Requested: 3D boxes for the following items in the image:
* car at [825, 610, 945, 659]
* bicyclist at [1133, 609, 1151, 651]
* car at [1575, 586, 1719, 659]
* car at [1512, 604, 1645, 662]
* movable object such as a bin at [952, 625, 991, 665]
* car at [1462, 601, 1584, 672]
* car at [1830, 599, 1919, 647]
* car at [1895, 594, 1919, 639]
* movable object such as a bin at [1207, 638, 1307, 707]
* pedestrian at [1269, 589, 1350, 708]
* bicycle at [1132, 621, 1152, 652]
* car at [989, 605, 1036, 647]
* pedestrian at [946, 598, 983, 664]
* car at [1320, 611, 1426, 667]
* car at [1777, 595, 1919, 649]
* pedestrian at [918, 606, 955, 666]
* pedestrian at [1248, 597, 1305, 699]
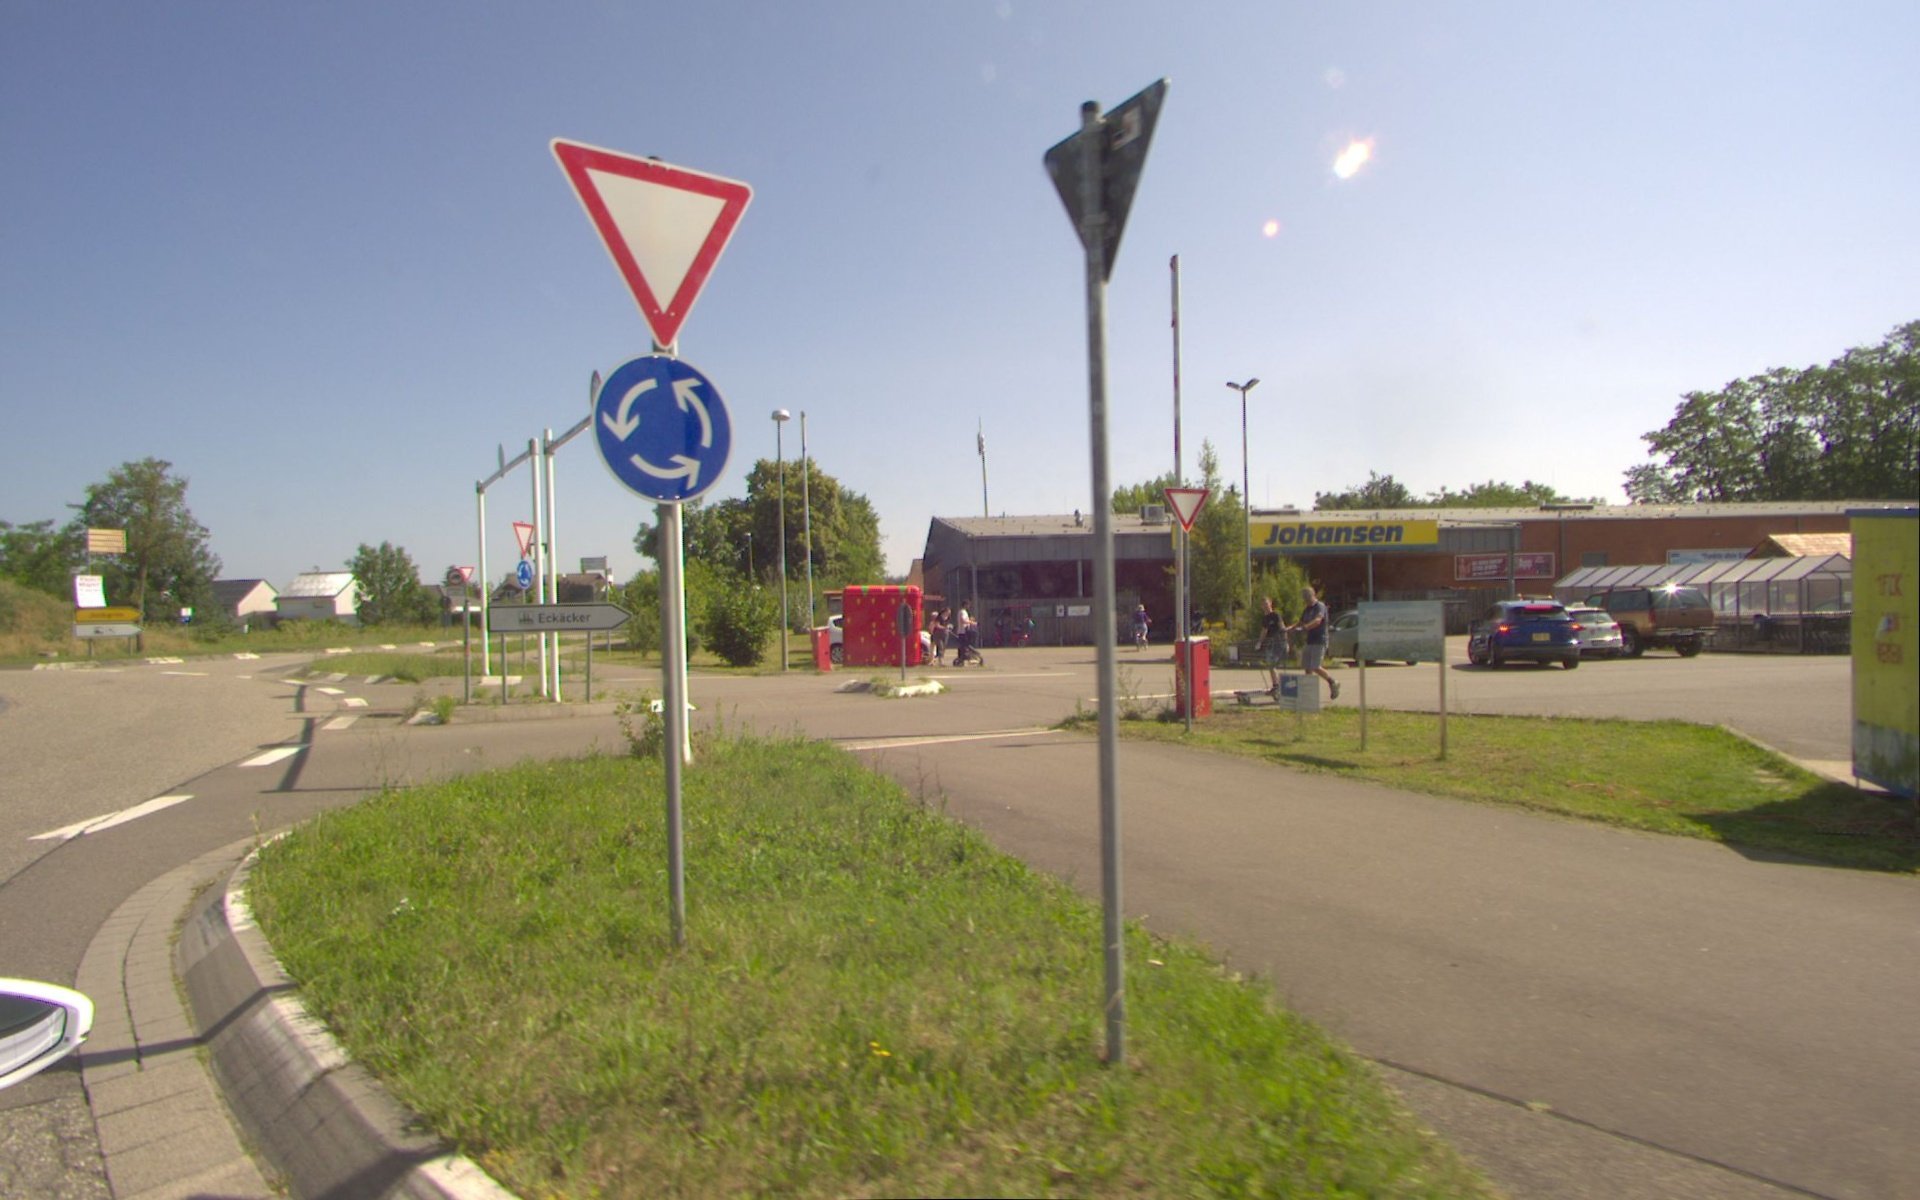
[{"bbox_3d":[-2.344,1.074,31.784,3.698,1.465,1.726,0,0,-1],"label":"car"},{"bbox_3d":[6.717,1.104,36.952,0.596,1.535,0.677,-1,1,15],"label":"bicyclist"},{"bbox_3d":[19.434,0.621,28.507,1.842,1.954,3.492,0,0,3],"label":"car"},{"bbox_3d":[17.182,0.881,28.006,1.683,1.517,3.492,0,0,3],"label":"car"},{"bbox_3d":[0.322,1.243,27.664,1.020,1.060,0.768,0,0,5],"label":"movable object such as a bin"},{"bbox_3d":[13.757,0.836,24.724,1.685,1.592,4.422,0,0,16],"label":"car"},{"bbox_3d":[28.791,0.673,29.890,1.961,1.394,3.999,-1,-1,-6],"label":"car"},{"bbox_3d":[31.132,0.509,30.363,1.682,1.416,3.999,-1,0,-4],"label":"car"},{"bbox_3d":[4.543,1.095,15.340,1.184,0.967,0.878,-1,0,-22],"label":"movable object such as a bin"},{"bbox_3d":[5.473,0.738,15.720,0.828,1.809,0.878,-1,0,-21],"label":"pedestrian"},{"bbox_3d":[6.773,1.344,37.185,0.543,1.055,2.073,-1,0,15],"label":"bicycle"},{"bbox_3d":[2.131,1.060,40.681,1.793,1.657,1.130,-1,0,-3],"label":"car"},{"bbox_3d":[0.138,0.892,29.094,0.827,1.896,0.772,0,0,24],"label":"pedestrian"},{"bbox_3d":[11.552,1.056,28.235,1.683,1.477,3.492,0,0,3],"label":"car"},{"bbox_3d":[26.314,0.609,28.986,1.944,1.438,4.000,0,-1,-4],"label":"car"},{"bbox_3d":[-0.645,0.994,27.741,0.908,1.640,0.814,0,0,5],"label":"pedestrian"},{"bbox_3d":[5.314,0.783,16.831,0.588,1.670,0.699,-1,1,-35],"label":"pedestrian"}]
